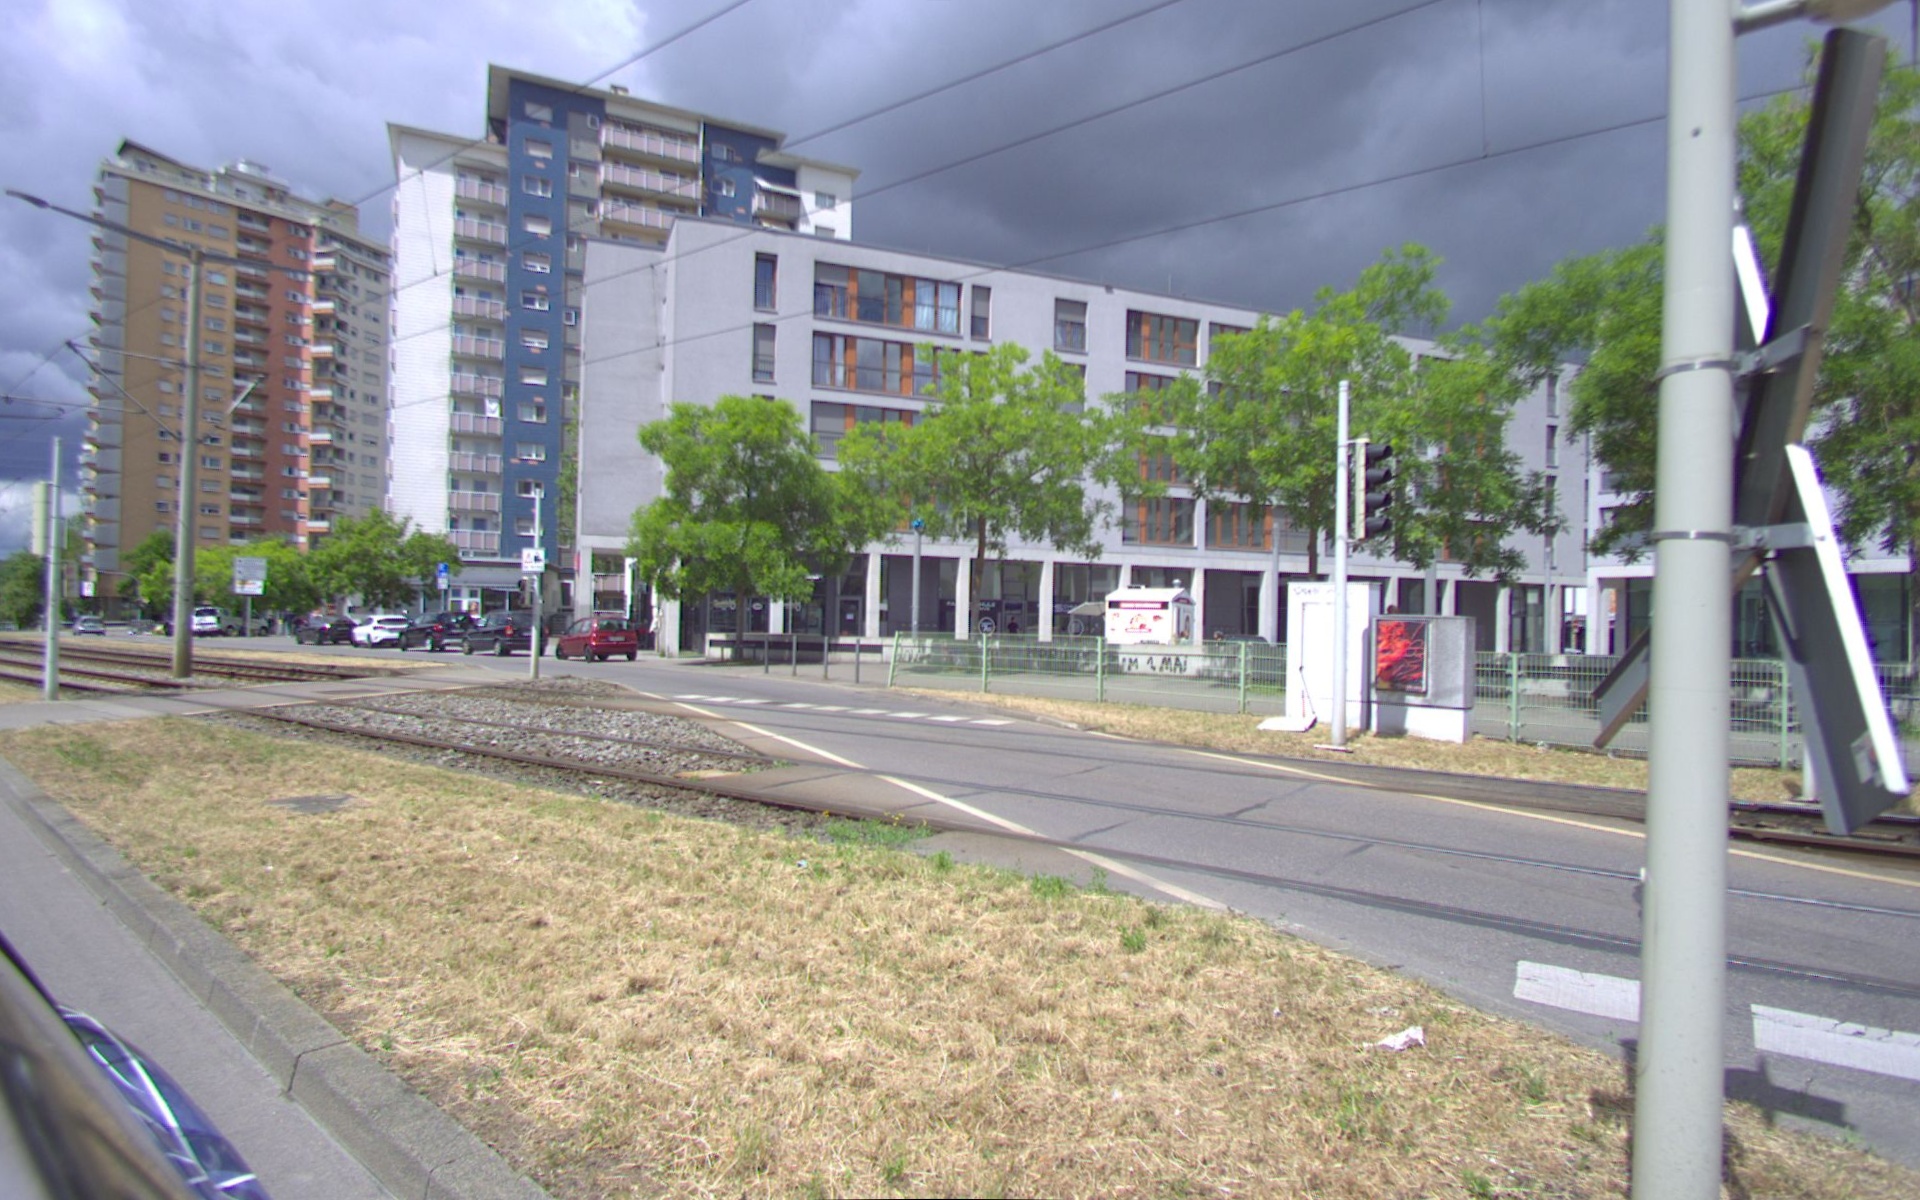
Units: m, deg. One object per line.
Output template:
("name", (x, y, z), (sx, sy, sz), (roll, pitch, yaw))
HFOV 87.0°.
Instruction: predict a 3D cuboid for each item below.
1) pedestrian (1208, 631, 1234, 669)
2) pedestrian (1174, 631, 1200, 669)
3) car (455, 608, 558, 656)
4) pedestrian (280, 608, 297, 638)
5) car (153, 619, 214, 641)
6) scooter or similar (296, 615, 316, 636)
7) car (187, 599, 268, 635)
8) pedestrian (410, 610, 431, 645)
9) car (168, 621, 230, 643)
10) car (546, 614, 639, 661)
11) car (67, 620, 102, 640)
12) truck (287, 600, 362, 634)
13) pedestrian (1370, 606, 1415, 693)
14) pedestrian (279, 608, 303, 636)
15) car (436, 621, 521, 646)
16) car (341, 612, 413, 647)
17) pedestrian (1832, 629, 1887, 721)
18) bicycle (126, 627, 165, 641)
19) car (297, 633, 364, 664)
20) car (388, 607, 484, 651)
("pedestrian", (7.758, 1.483, 30.138), (0.491, 1.104, 0.579), (1, -2, -25))
("pedestrian", (6.766, 1.485, 30.138), (0.491, 1.104, 0.579), (1, -2, -25))
("car", (-16.675, 1.191, 37.138), (4.100, 1.660, 1.971), (-2, -4, 43))
("pedestrian", (-42.073, 1.457, 63.418), (0.829, 1.806, 0.876), (3, -4, -35))
("car", (-59.786, 2.332, 78.009), (1.902, 1.604, 4.005), (1, -3, -6))
("scooter or similar", (-37.970, 1.469, 58.770), (0.758, 1.133, 0.580), (-2, -5, 1))
("car", (-48.429, 1.178, 67.035), (1.879, 2.173, 4.762), (1, -3, -1))
("pedestrian", (-28.351, 1.450, 53.180), (0.843, 1.806, 0.605), (-2, -4, 40))
("car", (-56.562, 2.391, 75.255), (1.723, 1.508, 3.765), (1, -3, 1))
("car", (-11.918, 1.224, 32.751), (1.594, 1.437, 3.426), (3, -4, -43))
("car", (-71.045, 2.471, 82.089), (3.756, 1.544, 1.798), (-2, -4, 45))
("truck", (-74.420, 2.013, 118.580), (6.991, 3.703, 2.549), (3, -4, -43))
("pedestrian", (8.111, 0.930, 18.973), (0.615, 1.585, 0.558), (3, -4, -44))
("pedestrian", (-38.857, 1.281, 58.784), (0.972, 1.584, 0.515), (-1, -5, 2))
("car", (-29.046, 2.043, 61.135), (4.283, 1.454, 2.005), (1, -3, -14))
("car", (-26.239, 1.360, 45.505), (1.734, 1.486, 4.403), (3, -4, -44))
("pedestrian", (15.623, 1.296, 17.584), (0.536, 1.559, 0.530), (2, -3, -29))
("bicycle", (-67.118, 2.828, 83.373), (0.704, 1.074, 2.401), (-2, -4, 41))
("car", (-31.297, 2.381, 50.289), (4.380, 1.439, 1.715), (-1, -3, 43))
("car", (-21.353, 1.189, 41.175), (4.094, 1.675, 1.974), (-2, -2, 38))
